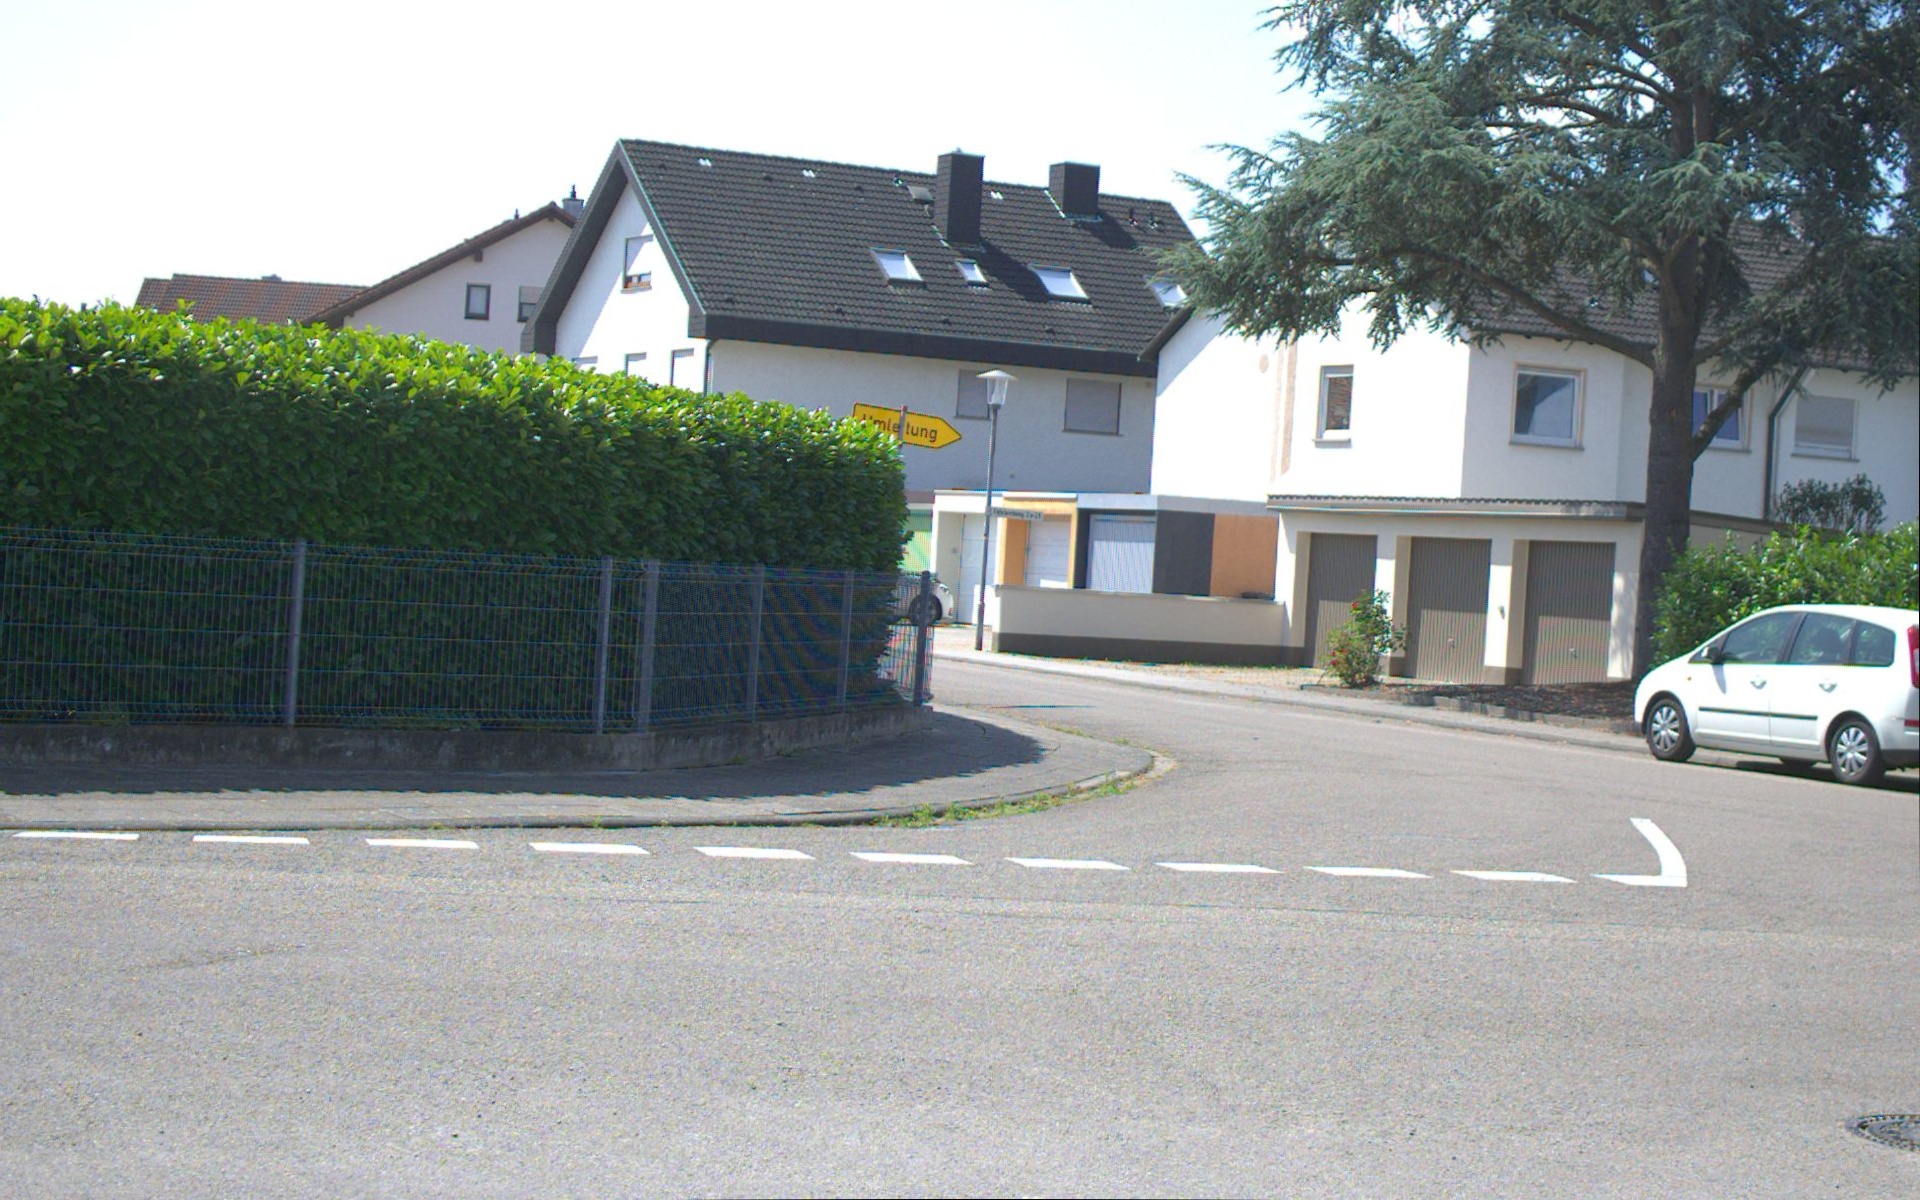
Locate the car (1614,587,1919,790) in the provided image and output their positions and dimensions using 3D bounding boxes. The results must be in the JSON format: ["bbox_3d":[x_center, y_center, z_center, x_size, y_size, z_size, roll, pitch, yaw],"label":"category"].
[{"bbox_3d":[8.079,0.797,31.607,1.797,1.557,4.144,3,1,-27],"label":"car"}]

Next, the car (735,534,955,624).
[{"bbox_3d":[-2.135,-0.393,63.880,3.598,1.403,1.784,3,1,-25],"label":"car"}]
